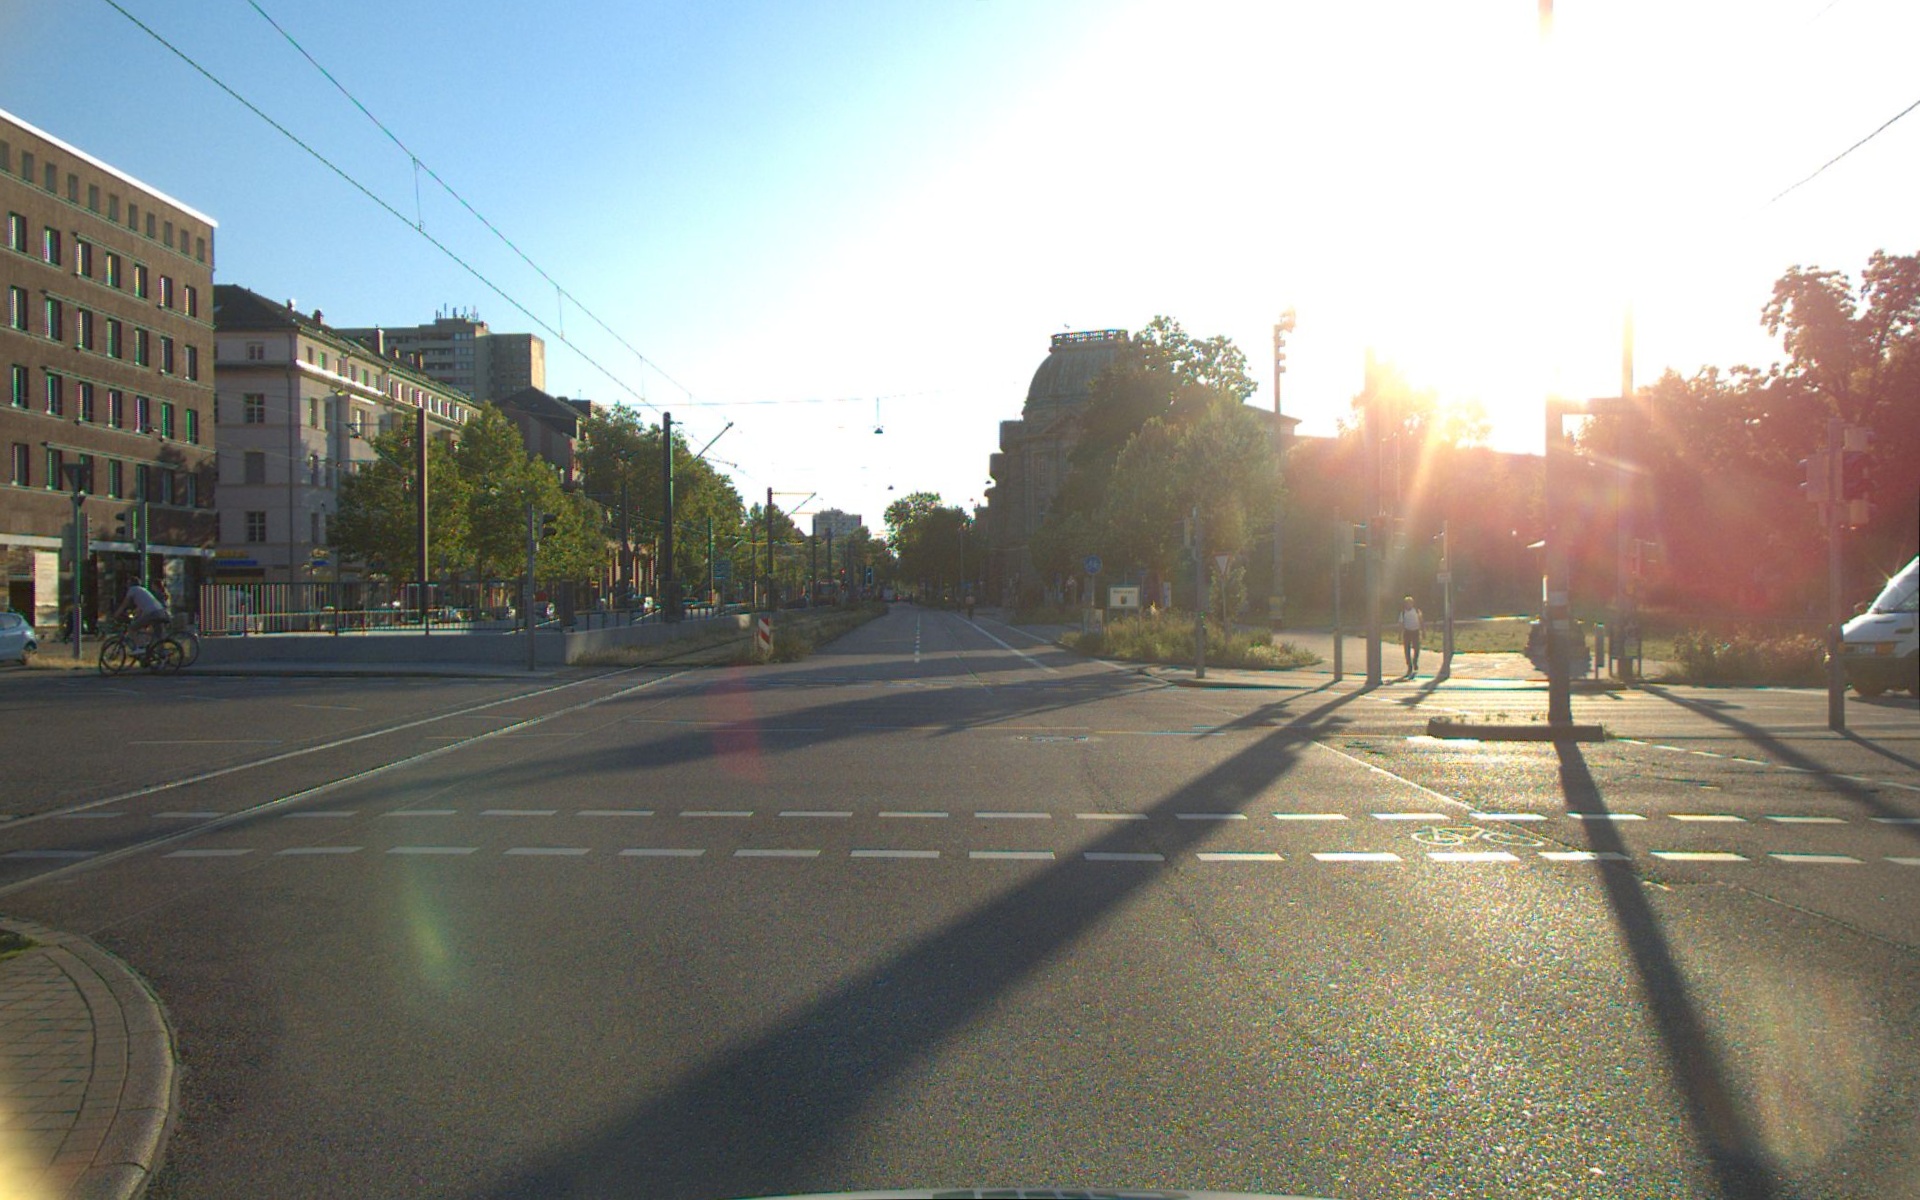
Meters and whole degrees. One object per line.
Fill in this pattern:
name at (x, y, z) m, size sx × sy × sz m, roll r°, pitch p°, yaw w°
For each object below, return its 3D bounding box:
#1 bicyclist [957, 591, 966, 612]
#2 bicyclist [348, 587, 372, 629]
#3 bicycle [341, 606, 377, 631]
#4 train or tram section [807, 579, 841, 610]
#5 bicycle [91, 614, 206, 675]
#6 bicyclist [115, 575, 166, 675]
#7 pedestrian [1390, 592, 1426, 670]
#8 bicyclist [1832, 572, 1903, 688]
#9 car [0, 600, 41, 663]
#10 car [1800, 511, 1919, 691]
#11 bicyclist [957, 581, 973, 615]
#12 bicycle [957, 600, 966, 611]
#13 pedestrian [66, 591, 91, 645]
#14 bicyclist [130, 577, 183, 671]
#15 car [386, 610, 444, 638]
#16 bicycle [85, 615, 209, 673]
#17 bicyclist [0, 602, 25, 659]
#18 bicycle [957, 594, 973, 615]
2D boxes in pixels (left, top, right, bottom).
bicyclist at (0.153, 0.143, 164.205) m, size 0.907 × 2.049 × 0.850 m, roll 0°, pitch 0°, yaw -1°
bicyclist at (-29.558, 0.399, 81.502) m, size 0.780 × 2.049 × 0.923 m, roll -1°, pitch 0°, yaw 1°
bicycle at (-29.562, 0.899, 81.385) m, size 0.796 × 1.222 × 2.413 m, roll -1°, pitch 0°, yaw 1°
train or tram section at (-17.972, -0.694, 219.038) m, size 4.301 × 3.917 × 11.398 m, roll 0°, pitch 0°, yaw -5°
bicycle at (-15.203, 0.827, 31.030) m, size 1.873 × 1.094 × 0.628 m, roll 0°, pitch 0°, yaw -21°
bicyclist at (-15.350, 0.455, 30.981) m, size 0.781 × 1.850 × 0.642 m, roll 0°, pitch 0°, yaw -20°
pedestrian at (10.697, 0.732, 39.508) m, size 0.815 × 1.835 × 0.811 m, roll 0°, pitch 0°, yaw 14°
bicyclist at (16.252, 0.533, 29.633) m, size 0.880 × 2.049 × 0.722 m, roll 0°, pitch 0°, yaw 4°
car at (-25.945, 0.841, 43.209) m, size 1.655 × 1.646 × 3.999 m, roll -1°, pitch 0°, yaw -1°
car at (17.894, -0.004, 27.424) m, size 6.866 × 2.877 × 2.093 m, roll 0°, pitch 0°, yaw 1°
bicyclist at (0.360, -0.122, 113.730) m, size 1.060 × 2.316 × 0.986 m, roll 0°, pitch 0°, yaw -1°
bicycle at (0.160, 0.521, 164.189) m, size 0.905 × 1.131 × 2.332 m, roll 0°, pitch 0°, yaw -1°
pedestrian at (-36.462, 0.727, 68.437) m, size 0.589 × 2.216 × 0.792 m, roll 0°, pitch 0°, yaw -1°
bicyclist at (-16.001, 0.474, 32.944) m, size 0.862 × 1.850 × 0.535 m, roll 0°, pitch 0°, yaw -18°
car at (-30.243, 1.304, 91.884) m, size 1.781 × 1.445 × 4.001 m, roll -1°, pitch 0°, yaw 3°
bicycle at (-16.143, 0.859, 32.887) m, size 2.130 × 1.102 × 0.536 m, roll 0°, pitch 0°, yaw -18°
bicyclist at (-29.731, 0.946, 51.543) m, size 0.686 × 1.773 × 0.792 m, roll 0°, pitch 0°, yaw 10°
bicycle at (0.354, 0.339, 113.738) m, size 1.075 × 1.423 × 2.831 m, roll 0°, pitch 0°, yaw -1°
